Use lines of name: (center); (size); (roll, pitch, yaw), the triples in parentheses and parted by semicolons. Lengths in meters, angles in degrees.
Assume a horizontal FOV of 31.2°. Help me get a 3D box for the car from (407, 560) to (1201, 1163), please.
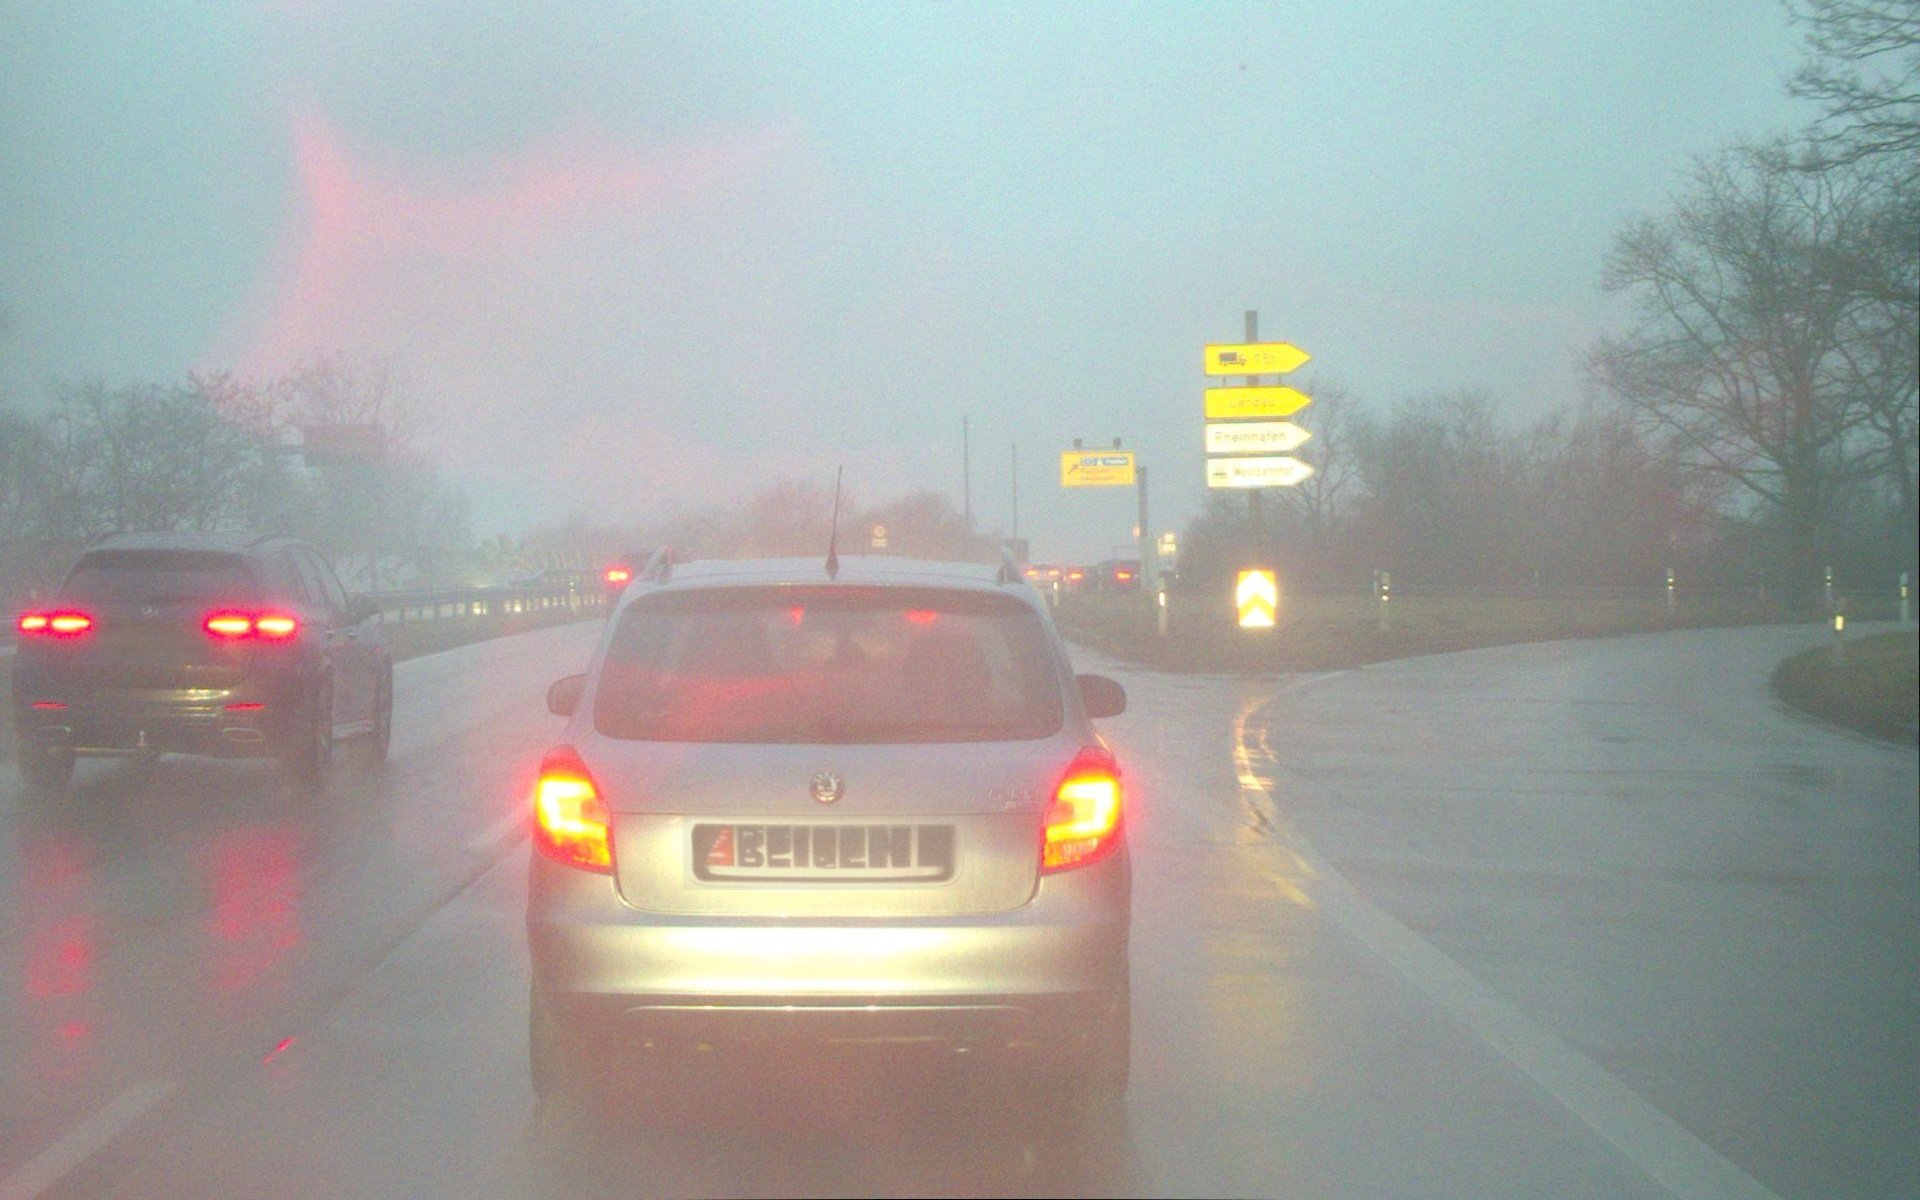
car: (-0.373, 0.657, 10.824); (1.993, 1.495, 4.137); (-1, 0, 1)

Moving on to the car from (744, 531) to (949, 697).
car: (-1.384, 0.123, 40.015); (1.897, 1.761, 4.309); (-2, 1, -8)

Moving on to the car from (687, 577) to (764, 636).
car: (-6.464, 0.171, 95.030); (1.789, 1.540, 4.000); (-2, 0, 1)

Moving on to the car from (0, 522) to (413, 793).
car: (-4.912, 0.320, 22.634); (1.993, 1.596, 4.309); (1, 1, -1)

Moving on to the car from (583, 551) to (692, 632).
car: (-6.631, -0.200, 71.100); (1.789, 1.540, 4.000); (-2, 1, 1)
